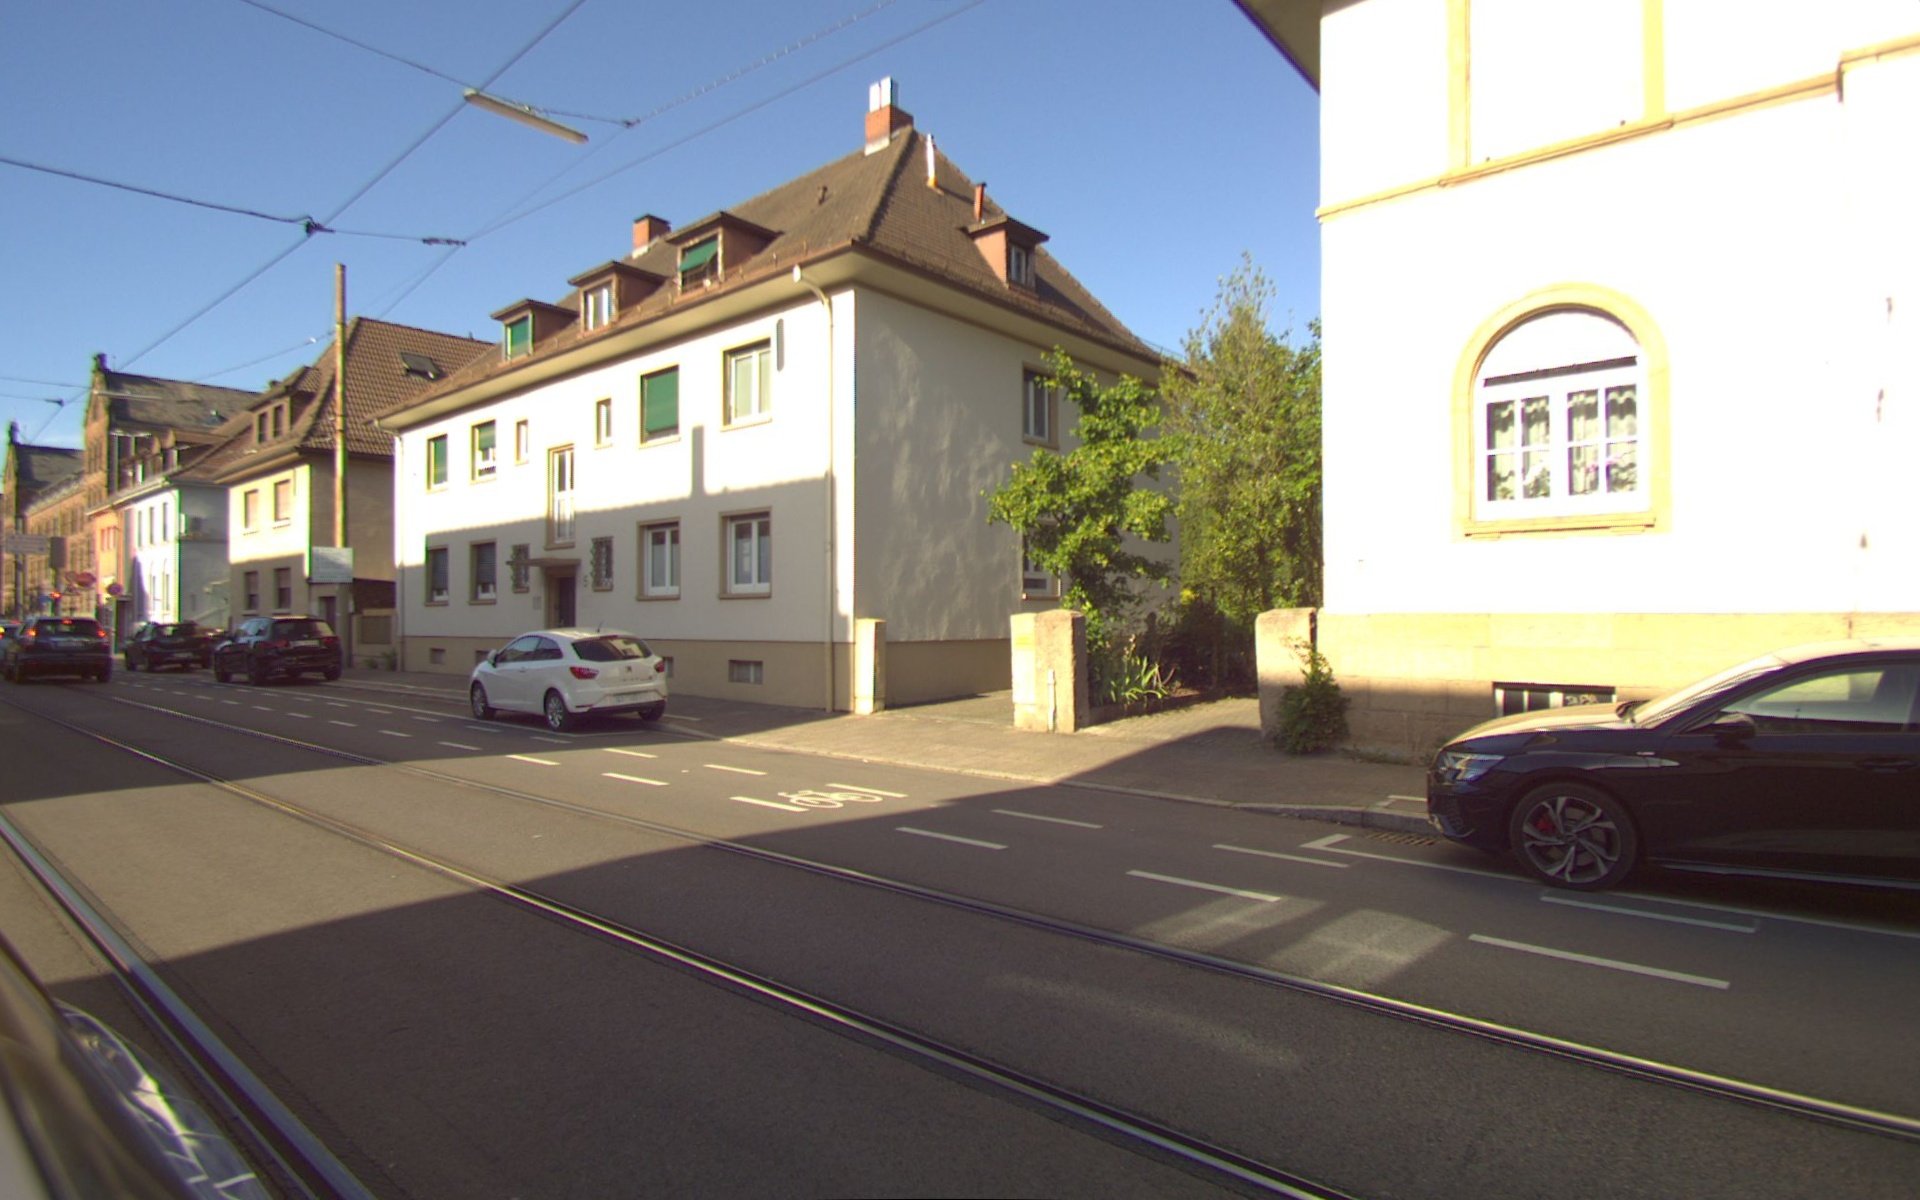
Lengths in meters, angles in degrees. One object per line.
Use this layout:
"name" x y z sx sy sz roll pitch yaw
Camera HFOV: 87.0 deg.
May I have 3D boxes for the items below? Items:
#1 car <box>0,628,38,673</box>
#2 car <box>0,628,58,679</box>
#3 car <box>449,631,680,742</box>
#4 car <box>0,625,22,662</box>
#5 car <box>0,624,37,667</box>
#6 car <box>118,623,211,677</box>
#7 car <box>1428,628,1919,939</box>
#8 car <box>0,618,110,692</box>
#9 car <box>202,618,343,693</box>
"car" -32.831 1.711 34.598 3.613 1.472 1.565 -1 -3 42
"car" -28.981 1.610 30.920 4.073 1.472 1.600 -1 -3 41
"car" -6.119 1.231 15.456 4.014 1.468 1.614 -1 -3 41
"car" -42.451 1.882 44.403 3.930 1.579 1.665 -2 -4 44
"car" -37.930 1.781 40.144 1.718 1.623 4.717 3 -3 -45
"car" -26.109 1.610 33.175 3.918 1.640 1.599 -1 -3 40
"car" 5.072 0.907 5.600 4.243 1.488 1.647 -2 -2 37
"car" -23.091 1.343 25.654 4.362 1.718 1.686 -1 -3 41
"car" -17.327 1.346 25.426 4.552 1.718 1.744 -1 -3 40
